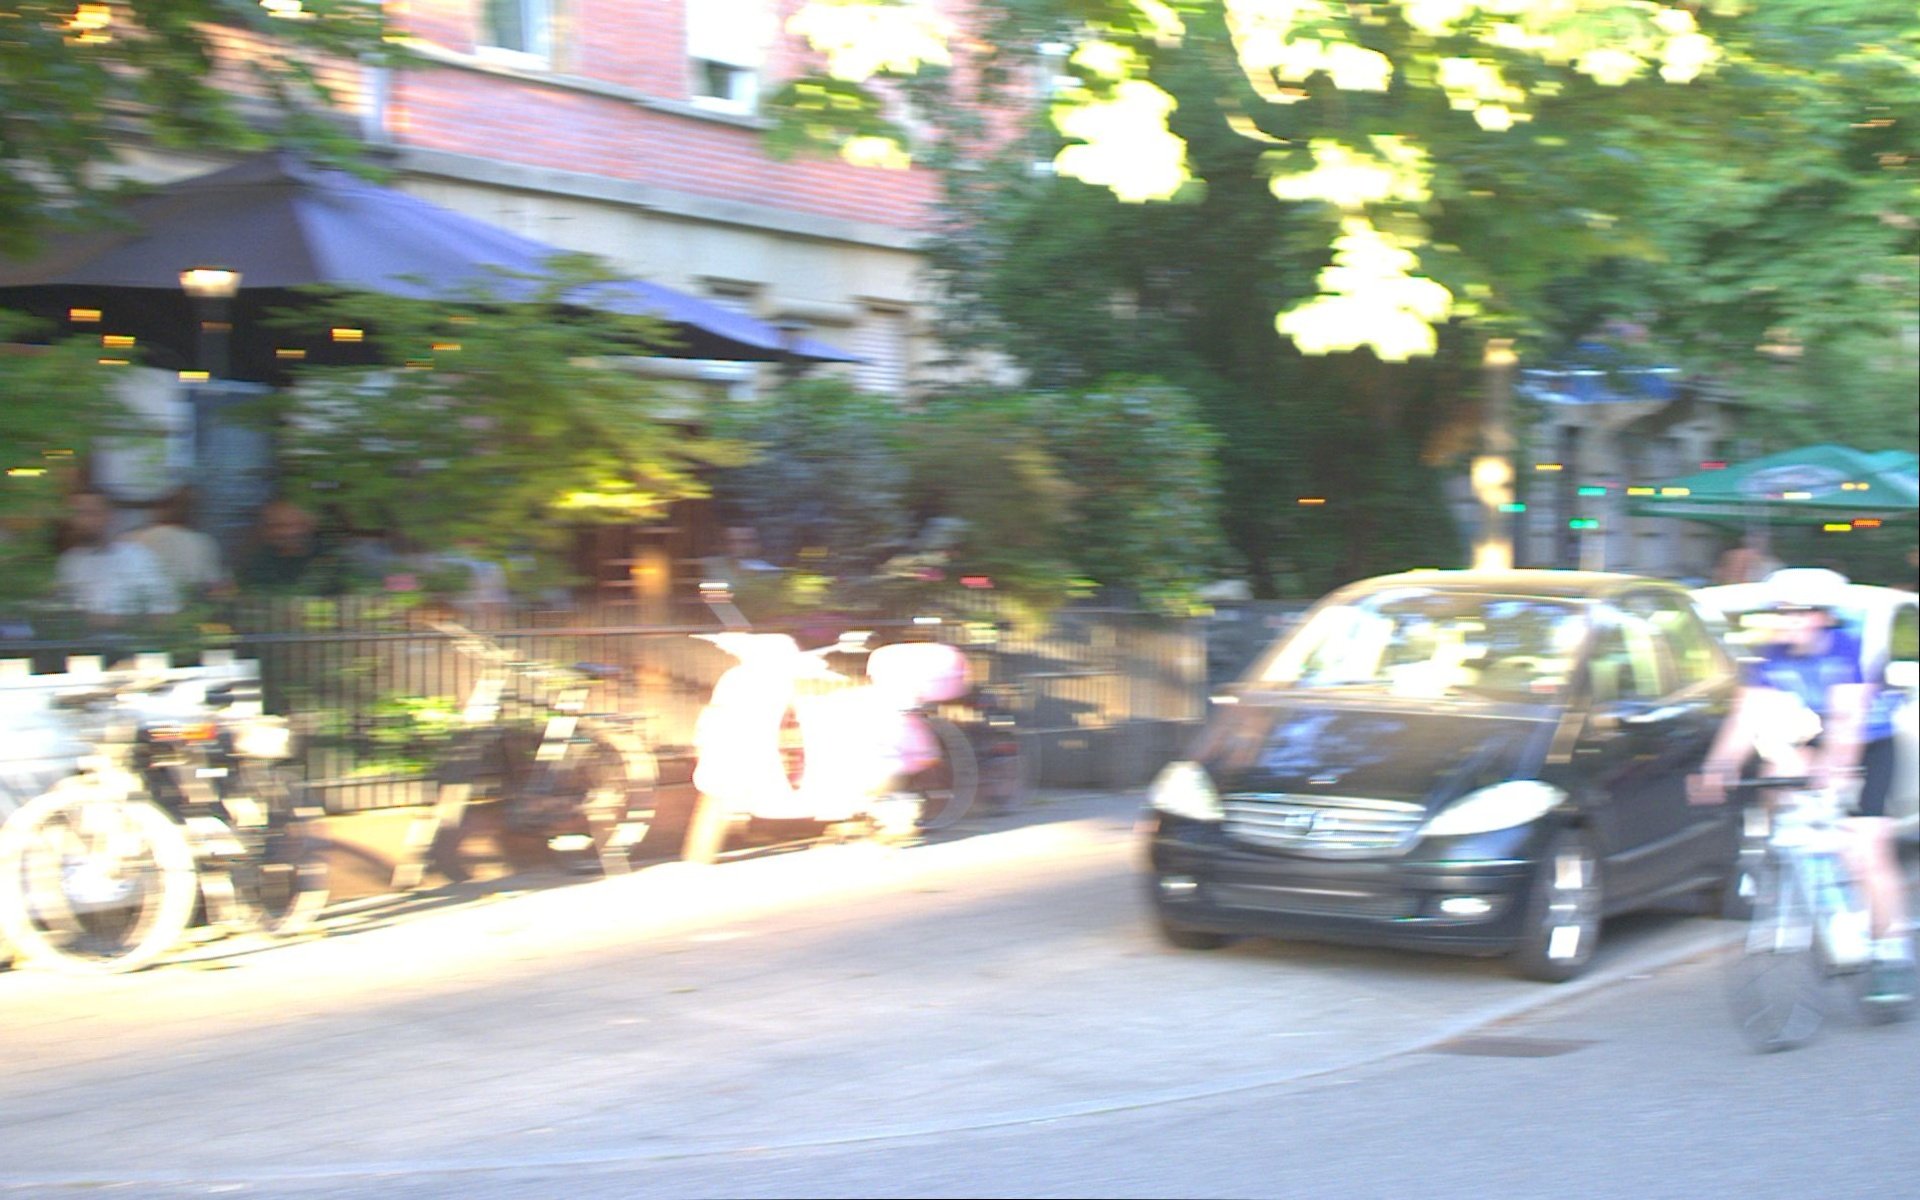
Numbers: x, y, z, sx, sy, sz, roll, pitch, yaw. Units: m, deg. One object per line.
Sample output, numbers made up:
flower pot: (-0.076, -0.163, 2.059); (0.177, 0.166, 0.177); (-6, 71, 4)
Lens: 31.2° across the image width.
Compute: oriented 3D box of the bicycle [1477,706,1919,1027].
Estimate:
bicycle: (2.739, 0.890, 11.879); (1.900, 1.030, 0.539); (1, -1, -25)

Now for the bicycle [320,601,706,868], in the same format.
bicycle: (-2.013, 0.584, 15.743); (0.392, 1.140, 1.952); (4, 2, 40)

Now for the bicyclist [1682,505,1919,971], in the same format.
bicyclist: (3.023, 0.457, 12.023); (0.820, 1.572, 0.510); (-1, 2, -22)

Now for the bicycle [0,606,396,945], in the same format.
bicycle: (-3.036, 0.638, 13.330); (0.392, 1.181, 1.953); (4, 3, 34)

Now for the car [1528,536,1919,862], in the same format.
car: (4.547, 0.441, 18.602); (1.667, 1.488, 3.704); (4, 3, 30)

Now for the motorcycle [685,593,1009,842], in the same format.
motorcycle: (-0.544, 0.565, 17.409); (0.392, 1.181, 1.952); (3, 2, 40)

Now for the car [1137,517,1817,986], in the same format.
car: (2.359, 0.514, 14.848); (1.667, 1.671, 3.841); (4, 3, 28)

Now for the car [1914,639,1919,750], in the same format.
car: (8.760, 0.378, 26.601); (1.842, 1.406, 4.594); (3, 3, 25)
